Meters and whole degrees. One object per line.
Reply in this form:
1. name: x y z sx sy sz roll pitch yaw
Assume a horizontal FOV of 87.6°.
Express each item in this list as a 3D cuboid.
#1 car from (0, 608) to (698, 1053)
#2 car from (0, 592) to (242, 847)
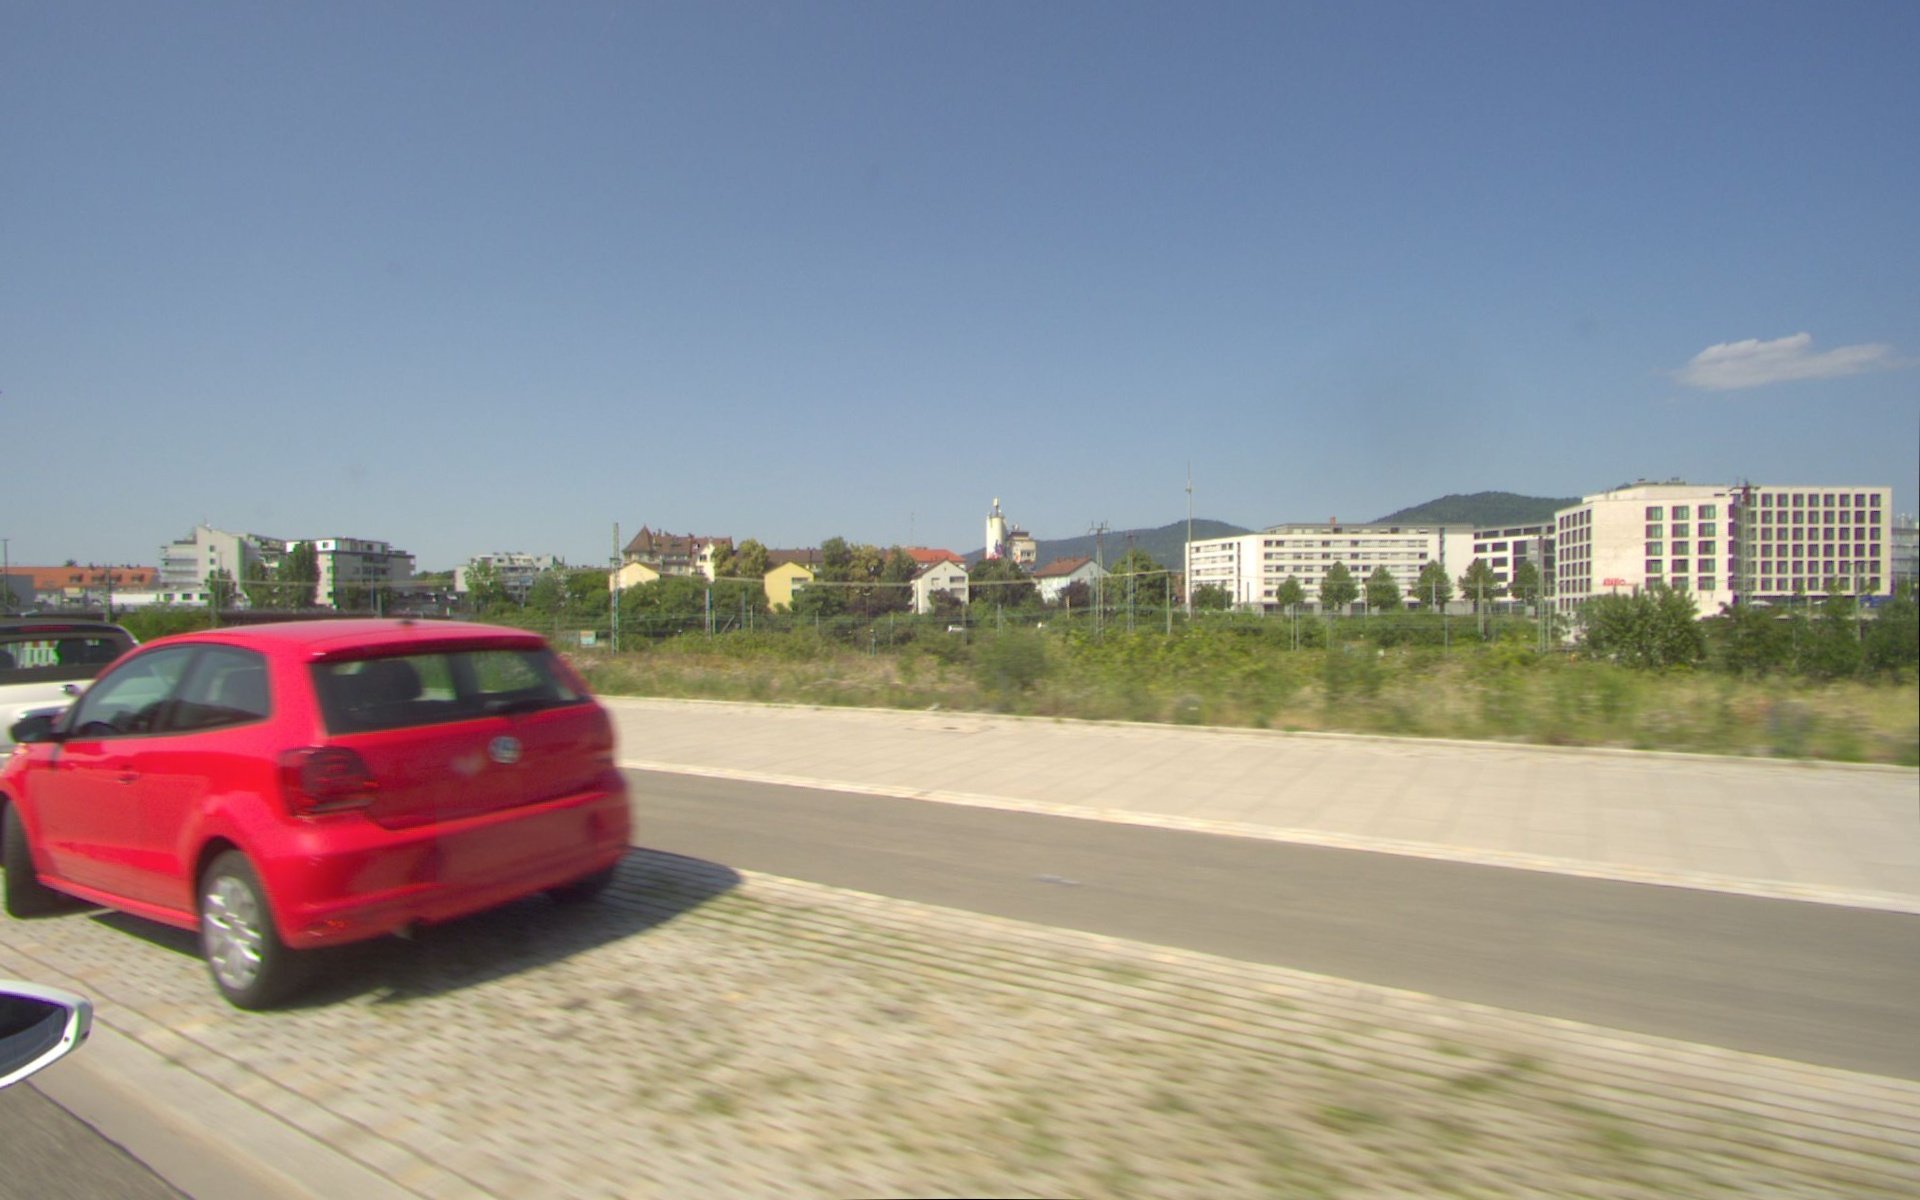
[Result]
1. car: -3.390 0.813 5.160 3.942 1.470 1.715 0 -2 32
2. car: -7.199 0.816 7.489 3.592 1.544 1.713 -3 0 32
